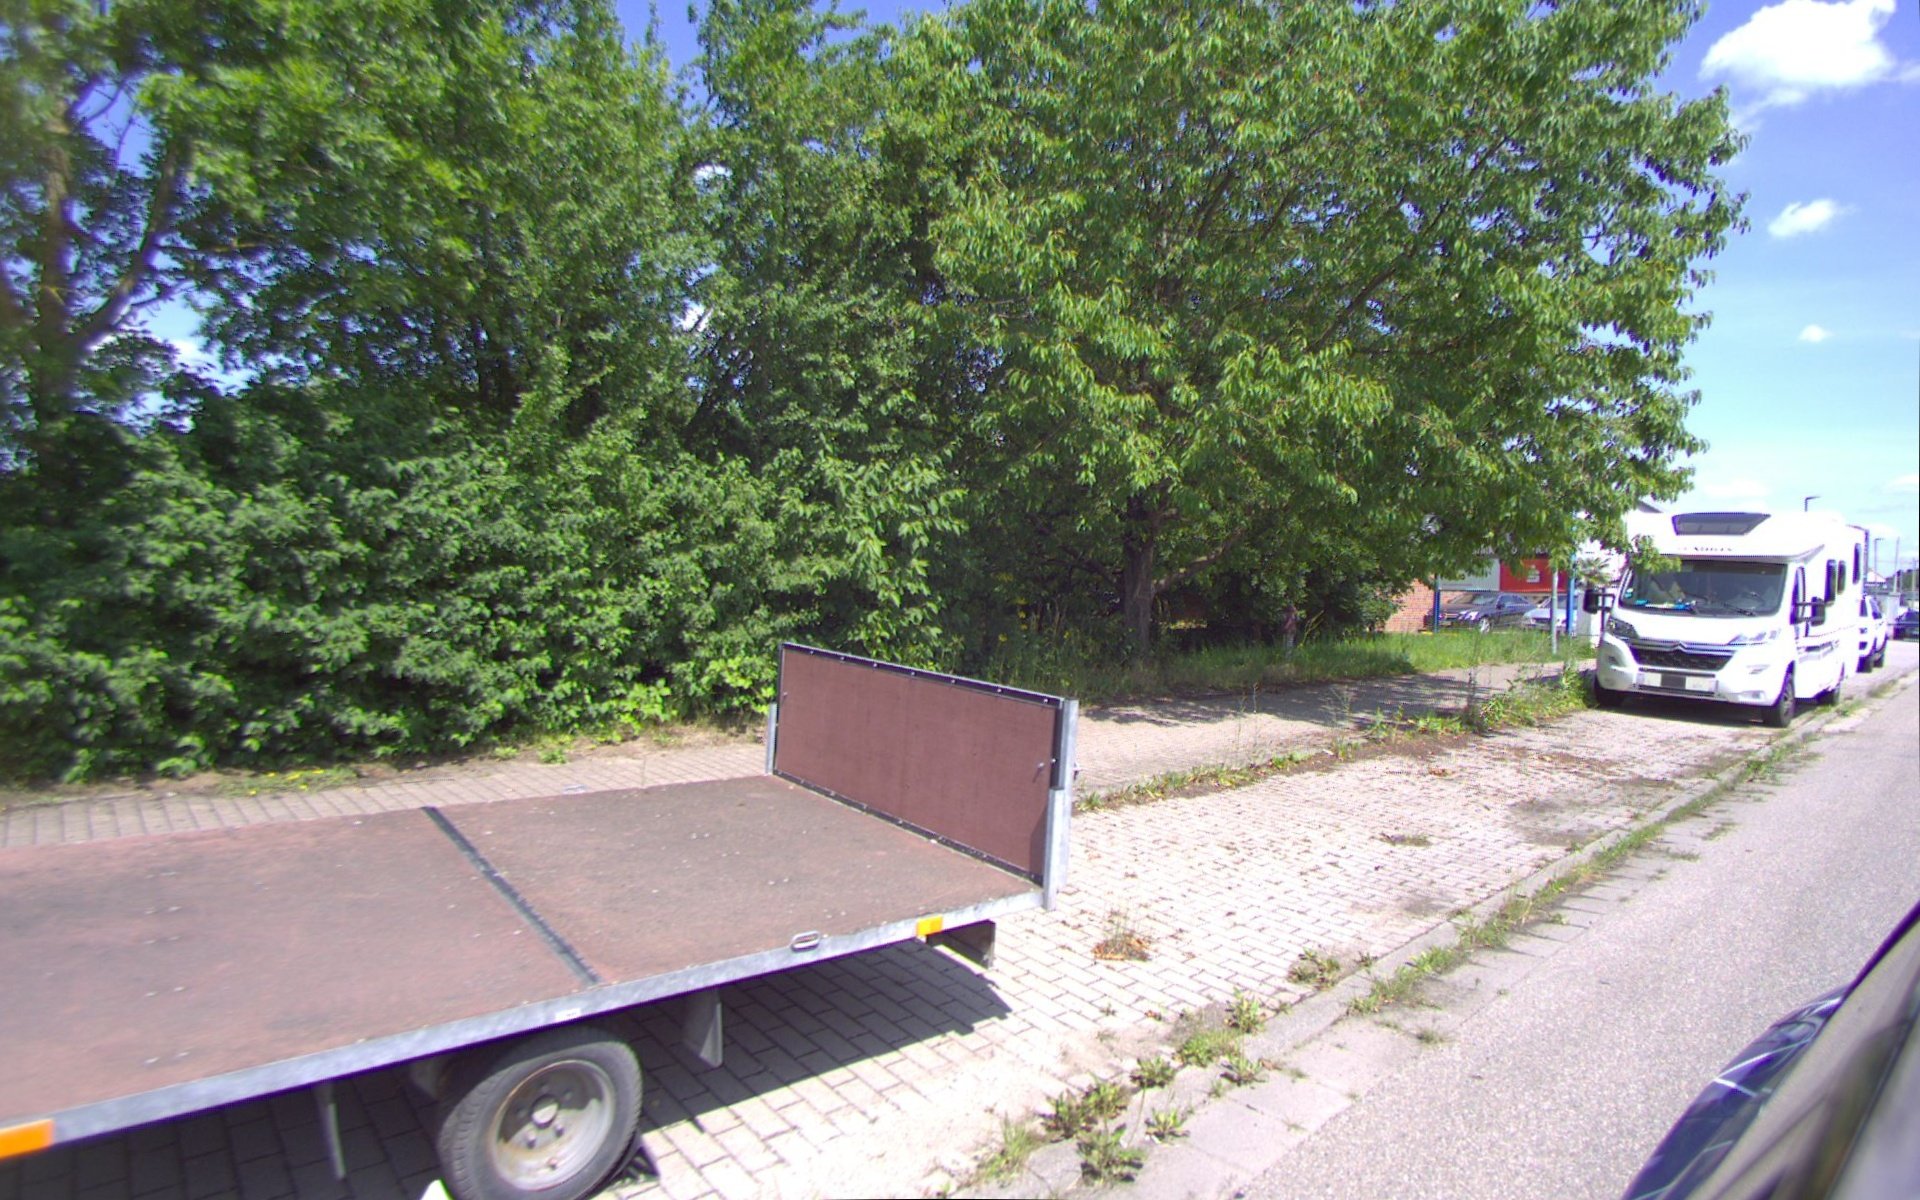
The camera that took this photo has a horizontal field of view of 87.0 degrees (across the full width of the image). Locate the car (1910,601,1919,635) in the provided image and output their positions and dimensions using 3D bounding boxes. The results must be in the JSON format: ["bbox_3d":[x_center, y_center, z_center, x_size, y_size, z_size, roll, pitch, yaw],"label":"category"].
[{"bbox_3d":[44.861,0.869,46.277,4.639,1.490,1.764,1,2,-44],"label":"car"}]

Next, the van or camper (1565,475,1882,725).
[{"bbox_3d":[11.603,-0.042,15.034,7.495,2.861,2.442,1,3,-44],"label":"van or camper"}]

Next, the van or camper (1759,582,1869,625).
[{"bbox_3d":[56.186,0.215,66.690,1.959,2.565,5.116,1,2,-29],"label":"van or camper"}]

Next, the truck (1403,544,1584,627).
[{"bbox_3d":[23.838,-0.709,45.527,3.047,3.430,6.486,1,1,-34],"label":"truck"}]

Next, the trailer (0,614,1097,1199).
[{"bbox_3d":[-1.904,0.714,2.568,4.410,1.136,2.010,0,4,-41],"label":"trailer"}]

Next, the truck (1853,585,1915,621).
[{"bbox_3d":[74.243,0.217,81.309,5.672,2.722,2.386,1,1,-35],"label":"truck"}]

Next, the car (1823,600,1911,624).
[{"bbox_3d":[65.519,0.823,73.151,1.685,1.505,4.602,1,2,-42],"label":"car"}]

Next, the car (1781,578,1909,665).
[{"bbox_3d":[21.885,0.476,24.942,5.334,1.836,1.850,1,3,-44],"label":"car"}]
